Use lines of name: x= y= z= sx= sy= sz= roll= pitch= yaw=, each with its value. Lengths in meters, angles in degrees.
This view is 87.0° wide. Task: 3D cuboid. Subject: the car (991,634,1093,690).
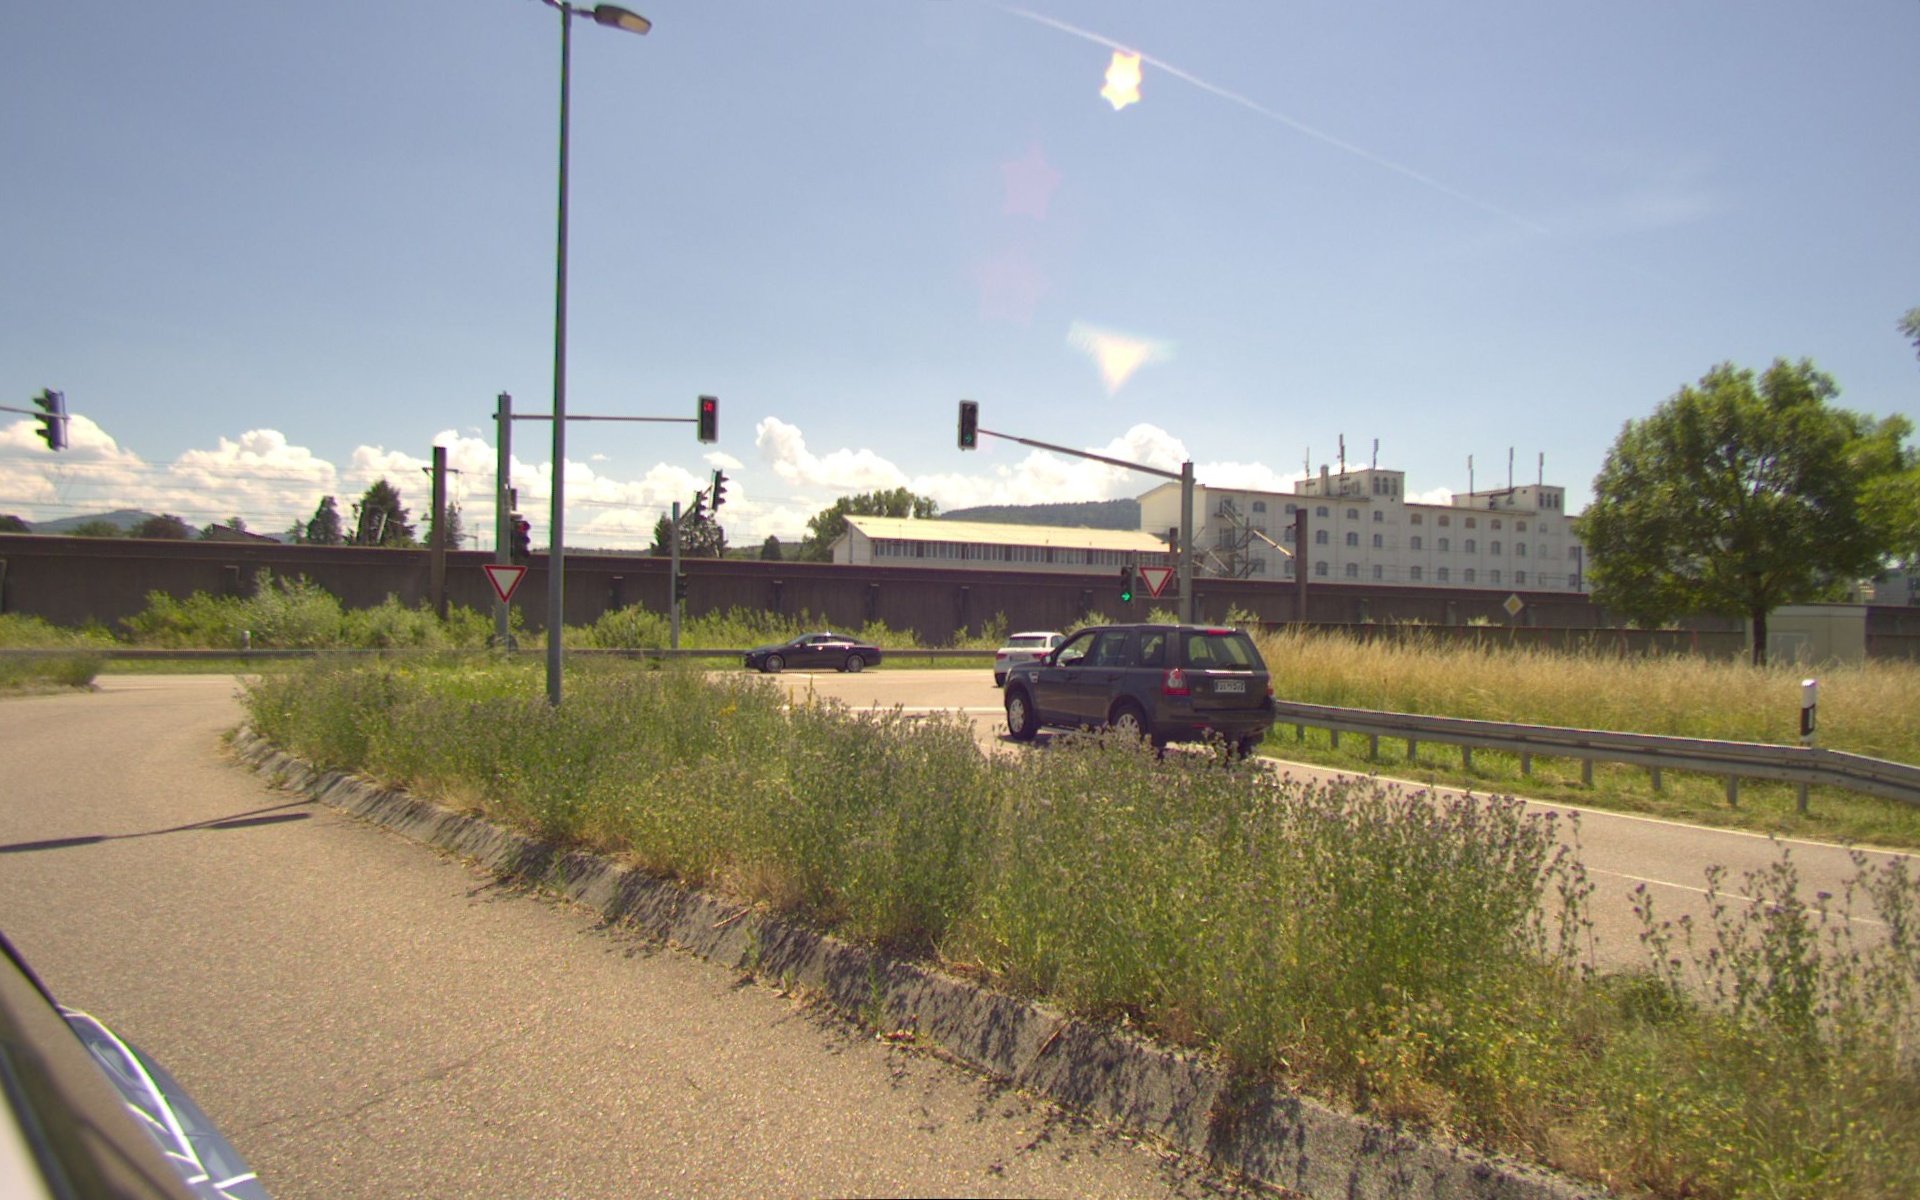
car: x=2.338 y=1.660 z=28.028 sx=1.721 sy=1.420 sz=3.829 roll=-1 pitch=-2 yaw=23

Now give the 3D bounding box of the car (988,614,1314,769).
car: x=2.357 y=1.157 z=13.783 sx=1.965 sy=1.735 sz=4.498 roll=4 pitch=-4 yaw=-27

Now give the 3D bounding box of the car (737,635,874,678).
car: x=-5.463 y=1.987 z=35.823 sx=4.439 sy=1.465 sz=1.794 roll=2 pitch=-3 yaw=-23
